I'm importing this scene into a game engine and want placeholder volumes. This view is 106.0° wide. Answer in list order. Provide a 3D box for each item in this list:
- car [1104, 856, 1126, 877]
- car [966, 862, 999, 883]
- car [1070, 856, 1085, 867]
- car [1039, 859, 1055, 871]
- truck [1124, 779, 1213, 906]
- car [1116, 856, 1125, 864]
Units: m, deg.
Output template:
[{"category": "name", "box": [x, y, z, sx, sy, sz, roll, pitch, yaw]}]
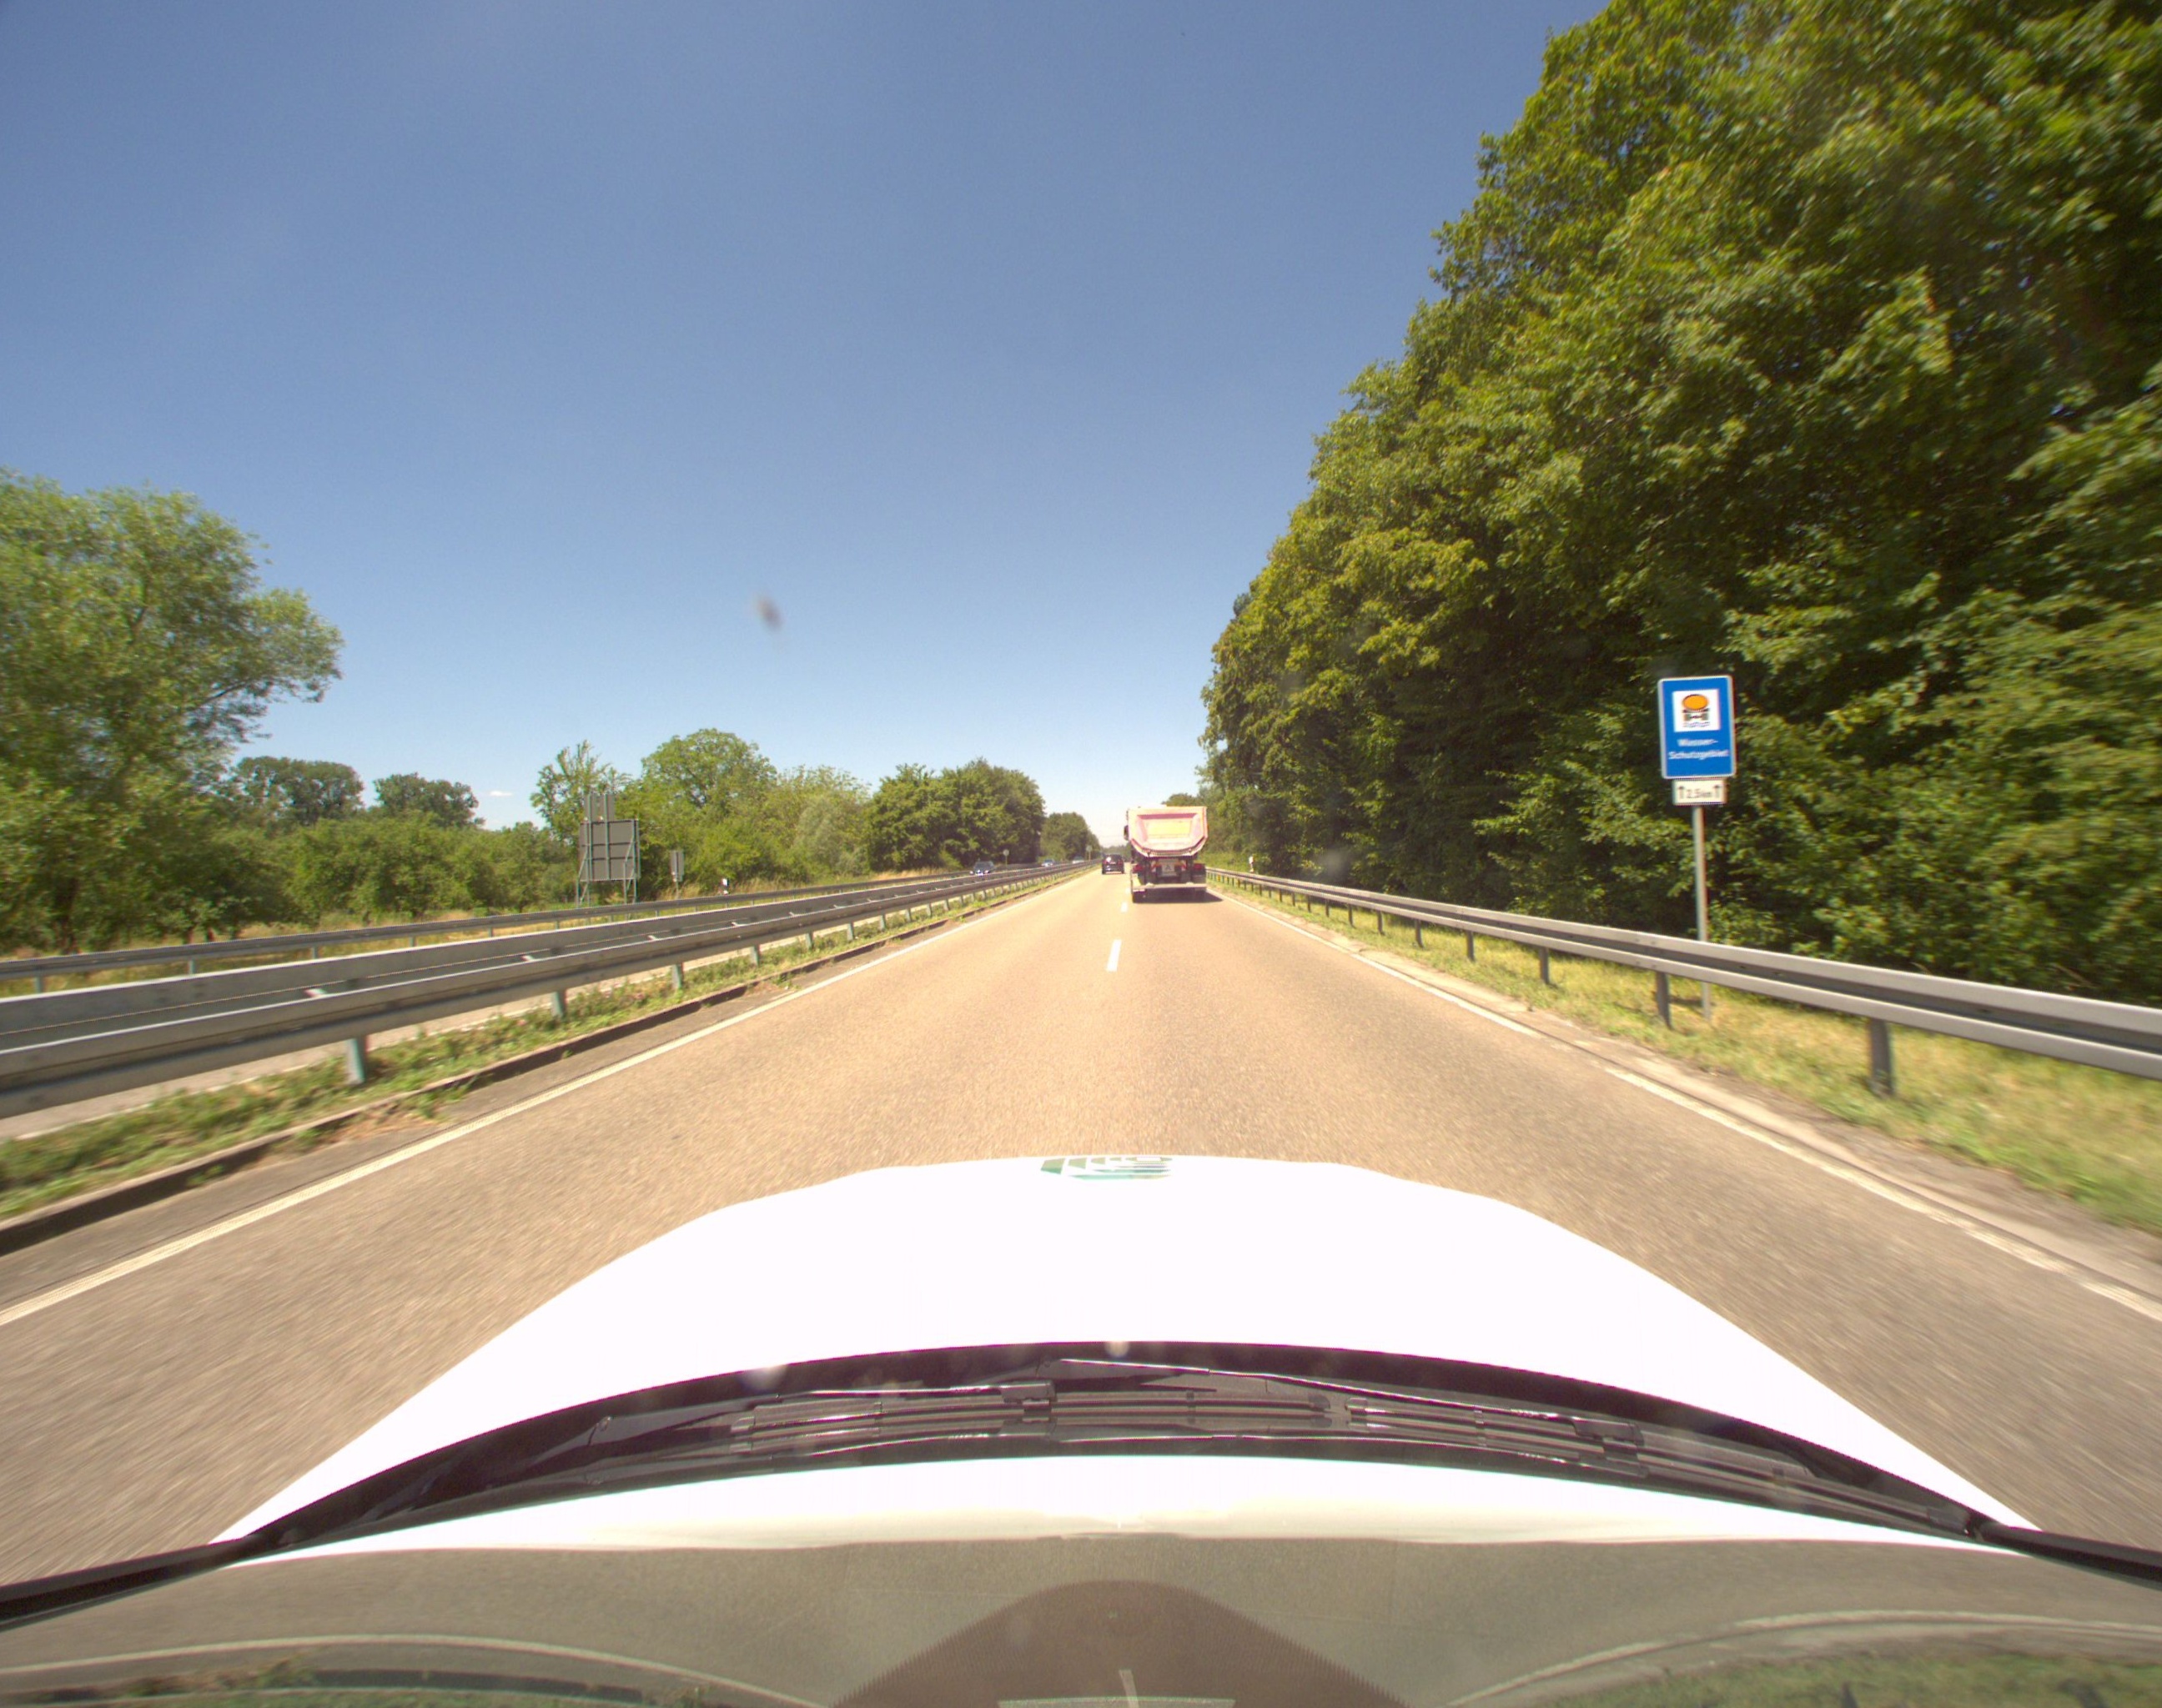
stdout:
[{"category": "car", "box": [2.954, 1.117, 70.158, 1.850, 1.671, 4.002, -1, -2, 3]}, {"category": "car", "box": [-8.185, 1.519, 68.038, 1.771, 1.620, 4.511, -4, -1, 4]}, {"category": "car", "box": [-0.553, 1.222, 133.000, 1.984, 1.632, 4.560, -3, 0, 6]}, {"category": "car", "box": [-4.958, 1.600, 119.121, 1.804, 1.543, 4.933, -3, 0, 4]}, {"category": "truck", "box": [3.065, -0.340, 31.762, 2.709, 3.930, 12.379, -1, 0, 3]}, {"category": "car", "box": [8.723, 1.326, 180.709, 1.849, 1.718, 4.004, -1, -2, 4]}]
